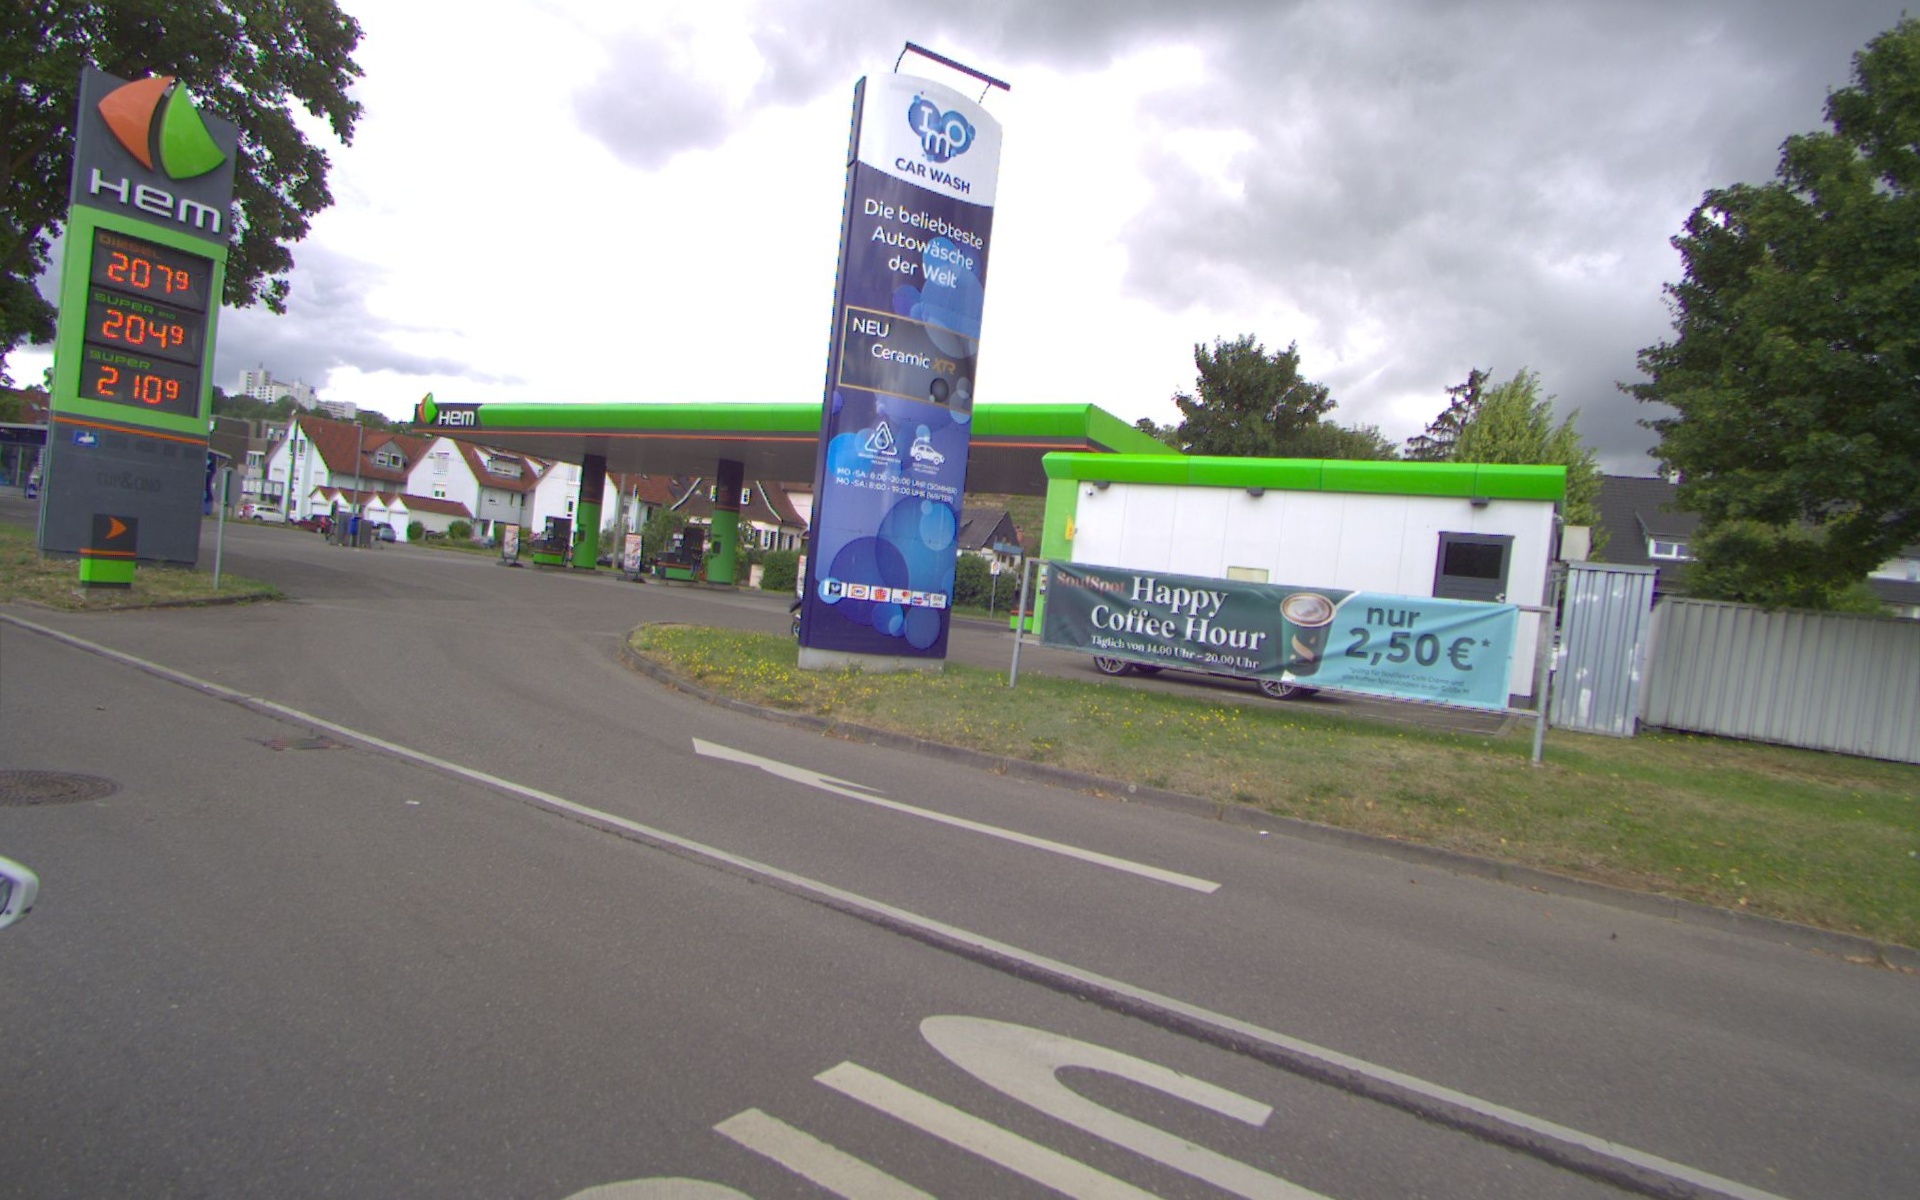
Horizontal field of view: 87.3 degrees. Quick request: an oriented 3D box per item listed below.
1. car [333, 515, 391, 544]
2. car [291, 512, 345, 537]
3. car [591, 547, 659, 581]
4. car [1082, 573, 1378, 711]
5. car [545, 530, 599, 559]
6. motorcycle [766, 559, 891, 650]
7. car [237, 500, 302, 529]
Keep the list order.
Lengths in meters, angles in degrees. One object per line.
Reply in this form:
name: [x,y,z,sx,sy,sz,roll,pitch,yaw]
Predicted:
car: [-44.259,-5.199,74.467,3.667,1.618,1.539,7,-1,20]
car: [-48.924,-5.740,76.657,3.354,1.411,1.587,7,-1,20]
car: [-22.545,-2.443,67.657,3.925,1.709,1.762,7,-1,20]
car: [4.405,0.615,16.642,4.265,1.697,1.821,6,2,32]
car: [-29.563,-4.241,76.643,3.934,1.705,1.691,7,1,32]
motorcycle: [-2.319,0.076,17.692,1.957,1.348,0.856,7,2,32]
car: [-60.432,-7.462,88.088,1.747,1.704,4.225,7,-1,29]
